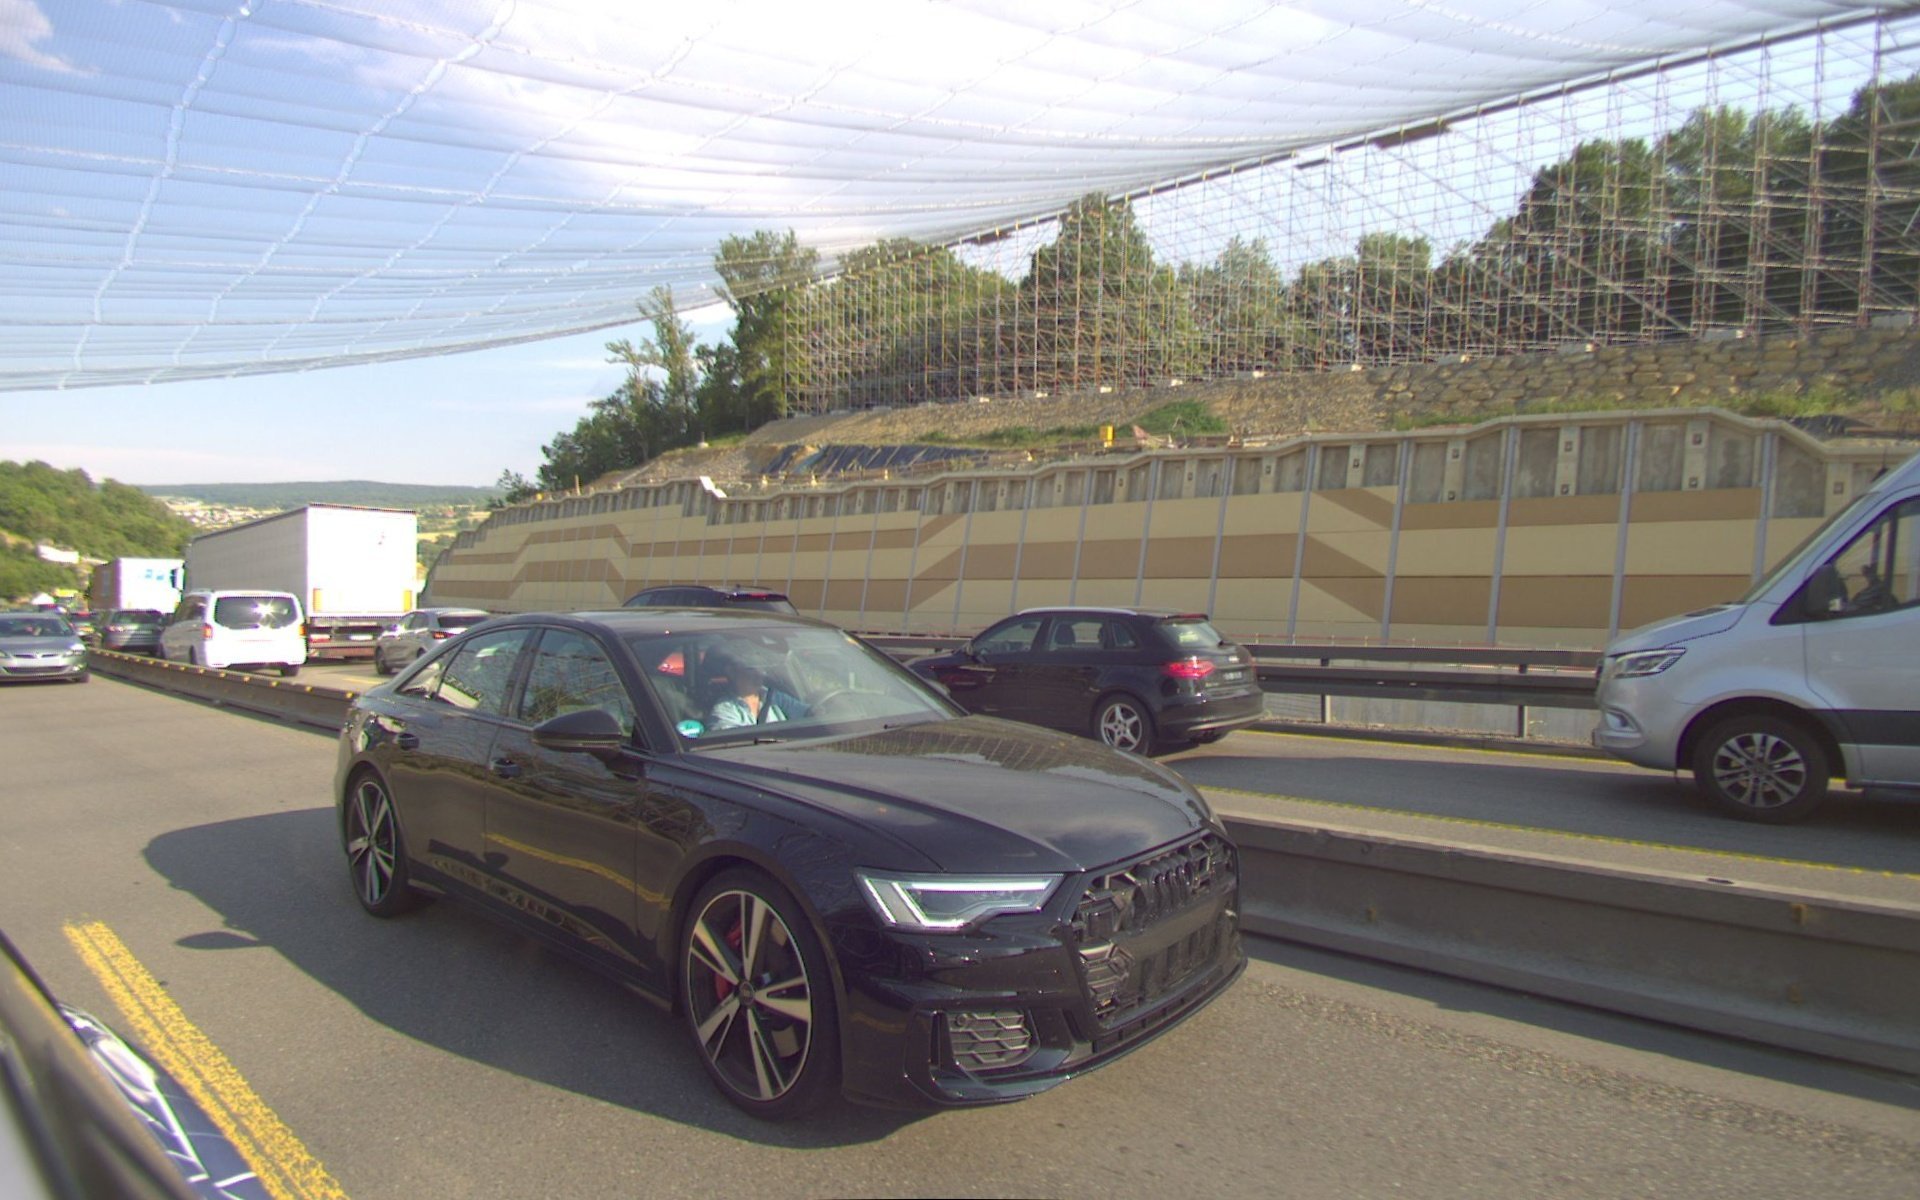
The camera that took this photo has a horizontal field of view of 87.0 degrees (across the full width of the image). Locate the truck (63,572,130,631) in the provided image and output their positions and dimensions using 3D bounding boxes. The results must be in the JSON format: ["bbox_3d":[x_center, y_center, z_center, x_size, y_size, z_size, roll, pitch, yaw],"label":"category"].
[{"bbox_3d":[-73.151,0.154,85.523,2.953,4.593,17.416,-1,0,-45],"label":"truck"}]

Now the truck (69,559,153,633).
[{"bbox_3d":[-58.967,-0.195,70.042,2.953,4.593,17.416,-1,0,-45],"label":"truck"}]

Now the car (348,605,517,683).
[{"bbox_3d":[-11.966,0.918,22.794,4.908,1.552,1.773,-1,0,42],"label":"car"}]

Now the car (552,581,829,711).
[{"bbox_3d":[-4.377,0.635,15.955,4.935,1.740,1.805,-1,0,42],"label":"car"}]

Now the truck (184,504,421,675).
[{"bbox_3d":[-20.573,-0.201,30.970,14.167,4.259,2.692,-1,0,43],"label":"truck"}]

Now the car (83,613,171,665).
[{"bbox_3d":[-26.968,1.202,32.716,4.217,1.563,1.565,-1,0,42],"label":"car"}]

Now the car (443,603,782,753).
[{"bbox_3d":[-4.253,0.778,11.987,4.516,1.430,1.789,-1,0,41],"label":"car"}]

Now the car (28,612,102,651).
[{"bbox_3d":[-38.529,1.326,43.530,4.645,1.546,1.914,-1,0,43],"label":"car"}]

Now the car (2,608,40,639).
[{"bbox_3d":[-58.935,1.438,63.549,1.701,1.841,3.296,-1,0,-43],"label":"car"}]

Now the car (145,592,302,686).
[{"bbox_3d":[-16.646,0.798,22.756,5.280,1.883,1.789,-1,0,42],"label":"car"}]

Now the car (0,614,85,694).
[{"bbox_3d":[-19.533,1.055,20.970,4.354,1.484,1.736,-1,0,44],"label":"car"}]

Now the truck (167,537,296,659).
[{"bbox_3d":[-25.610,-0.048,35.477,6.048,3.937,2.489,-1,0,43],"label":"truck"}]

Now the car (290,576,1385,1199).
[{"bbox_3d":[-1.024,0.686,4.417,4.958,1.409,1.914,-1,0,41],"label":"car"}]

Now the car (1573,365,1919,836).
[{"bbox_3d":[7.652,-0.023,5.557,7.077,2.733,2.219,-1,0,40],"label":"car"}]

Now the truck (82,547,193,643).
[{"bbox_3d":[-45.638,-0.178,55.810,2.953,4.593,17.416,-1,0,-45],"label":"truck"}]

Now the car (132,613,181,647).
[{"bbox_3d":[-36.018,1.311,45.332,1.352,1.426,3.295,-1,0,-45],"label":"car"}]

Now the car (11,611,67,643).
[{"bbox_3d":[-47.527,1.347,52.199,1.912,1.530,4.981,-1,0,-45],"label":"car"}]

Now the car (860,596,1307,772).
[{"bbox_3d":[1.104,0.710,10.488,4.379,1.448,1.773,-1,0,42],"label":"car"}]
